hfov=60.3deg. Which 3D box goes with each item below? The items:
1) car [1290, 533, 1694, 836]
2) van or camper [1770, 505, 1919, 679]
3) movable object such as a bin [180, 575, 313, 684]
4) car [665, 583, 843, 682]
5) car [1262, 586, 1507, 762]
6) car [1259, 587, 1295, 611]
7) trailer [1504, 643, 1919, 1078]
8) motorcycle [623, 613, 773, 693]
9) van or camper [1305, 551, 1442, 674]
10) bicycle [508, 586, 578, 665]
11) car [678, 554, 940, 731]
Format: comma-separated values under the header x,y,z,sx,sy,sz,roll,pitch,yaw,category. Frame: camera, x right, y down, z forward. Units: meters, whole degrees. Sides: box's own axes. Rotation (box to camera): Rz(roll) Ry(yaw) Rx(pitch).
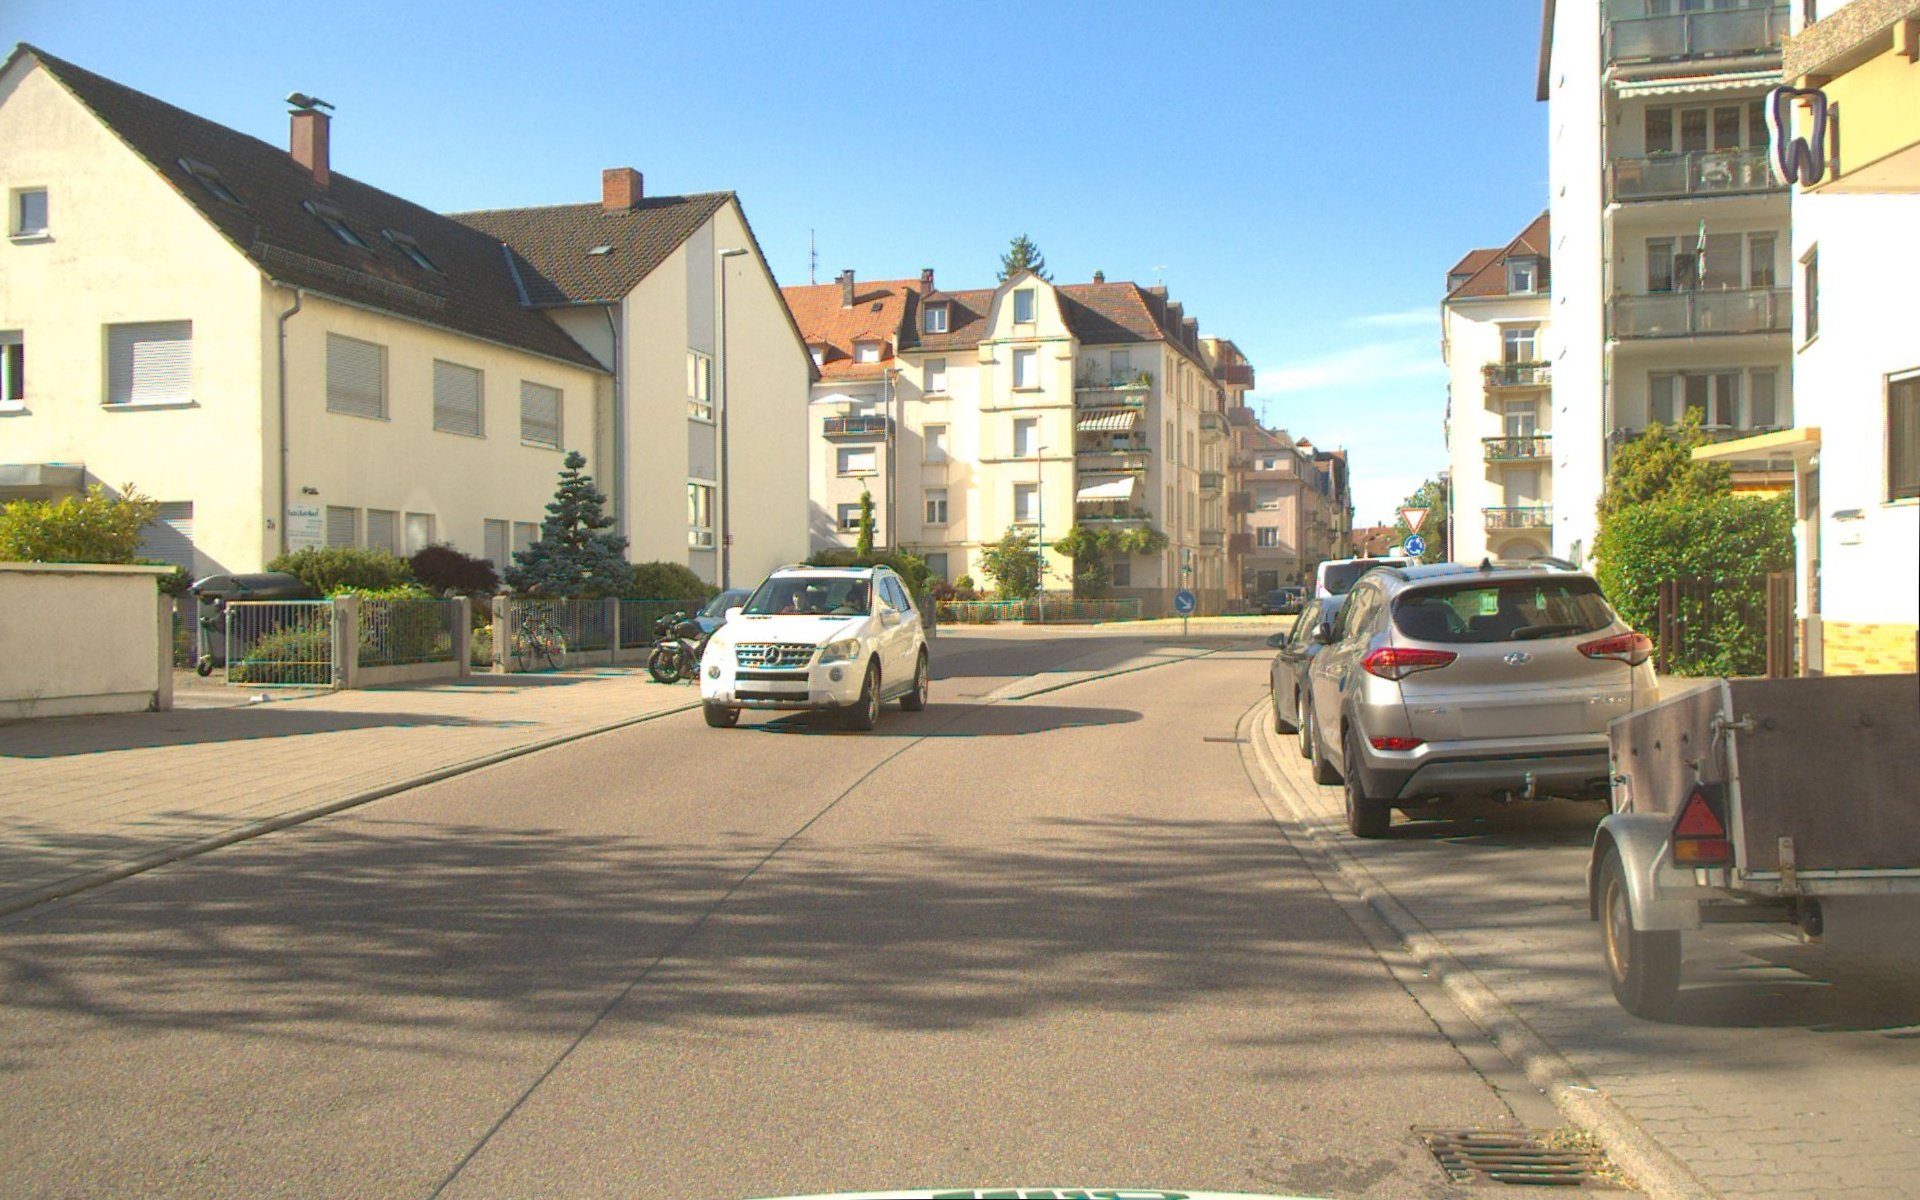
x,y,z,sx,sy,sz,roll,pitch,yaw,category
3.428,0.563,11.565,1.778,1.682,4.562,-1,-2,6,car
14.021,-0.146,22.801,4.856,2.328,1.856,-1,1,17,van or camper
-10.248,0.440,23.791,1.255,1.516,1.228,-1,-2,12,movable object such as a bin
-3.354,0.487,27.821,1.759,1.499,4.334,1,1,10,car
4.018,0.625,16.300,1.681,1.433,4.318,-3,0,6,car
20.376,-0.080,106.187,1.951,1.559,4.003,0,0,15,car
3.142,0.795,6.243,1.568,1.199,2.945,-1,-1,8,trailer
-3.937,0.773,24.864,2.015,1.036,0.947,3,2,22,motorcycle
7.545,0.204,29.870,1.978,1.981,4.705,-3,0,18,van or camper
-7.000,0.451,27.869,0.446,1.272,1.929,-1,-2,8,bicycle
-1.615,0.440,19.488,1.947,1.816,4.523,-1,0,10,car
